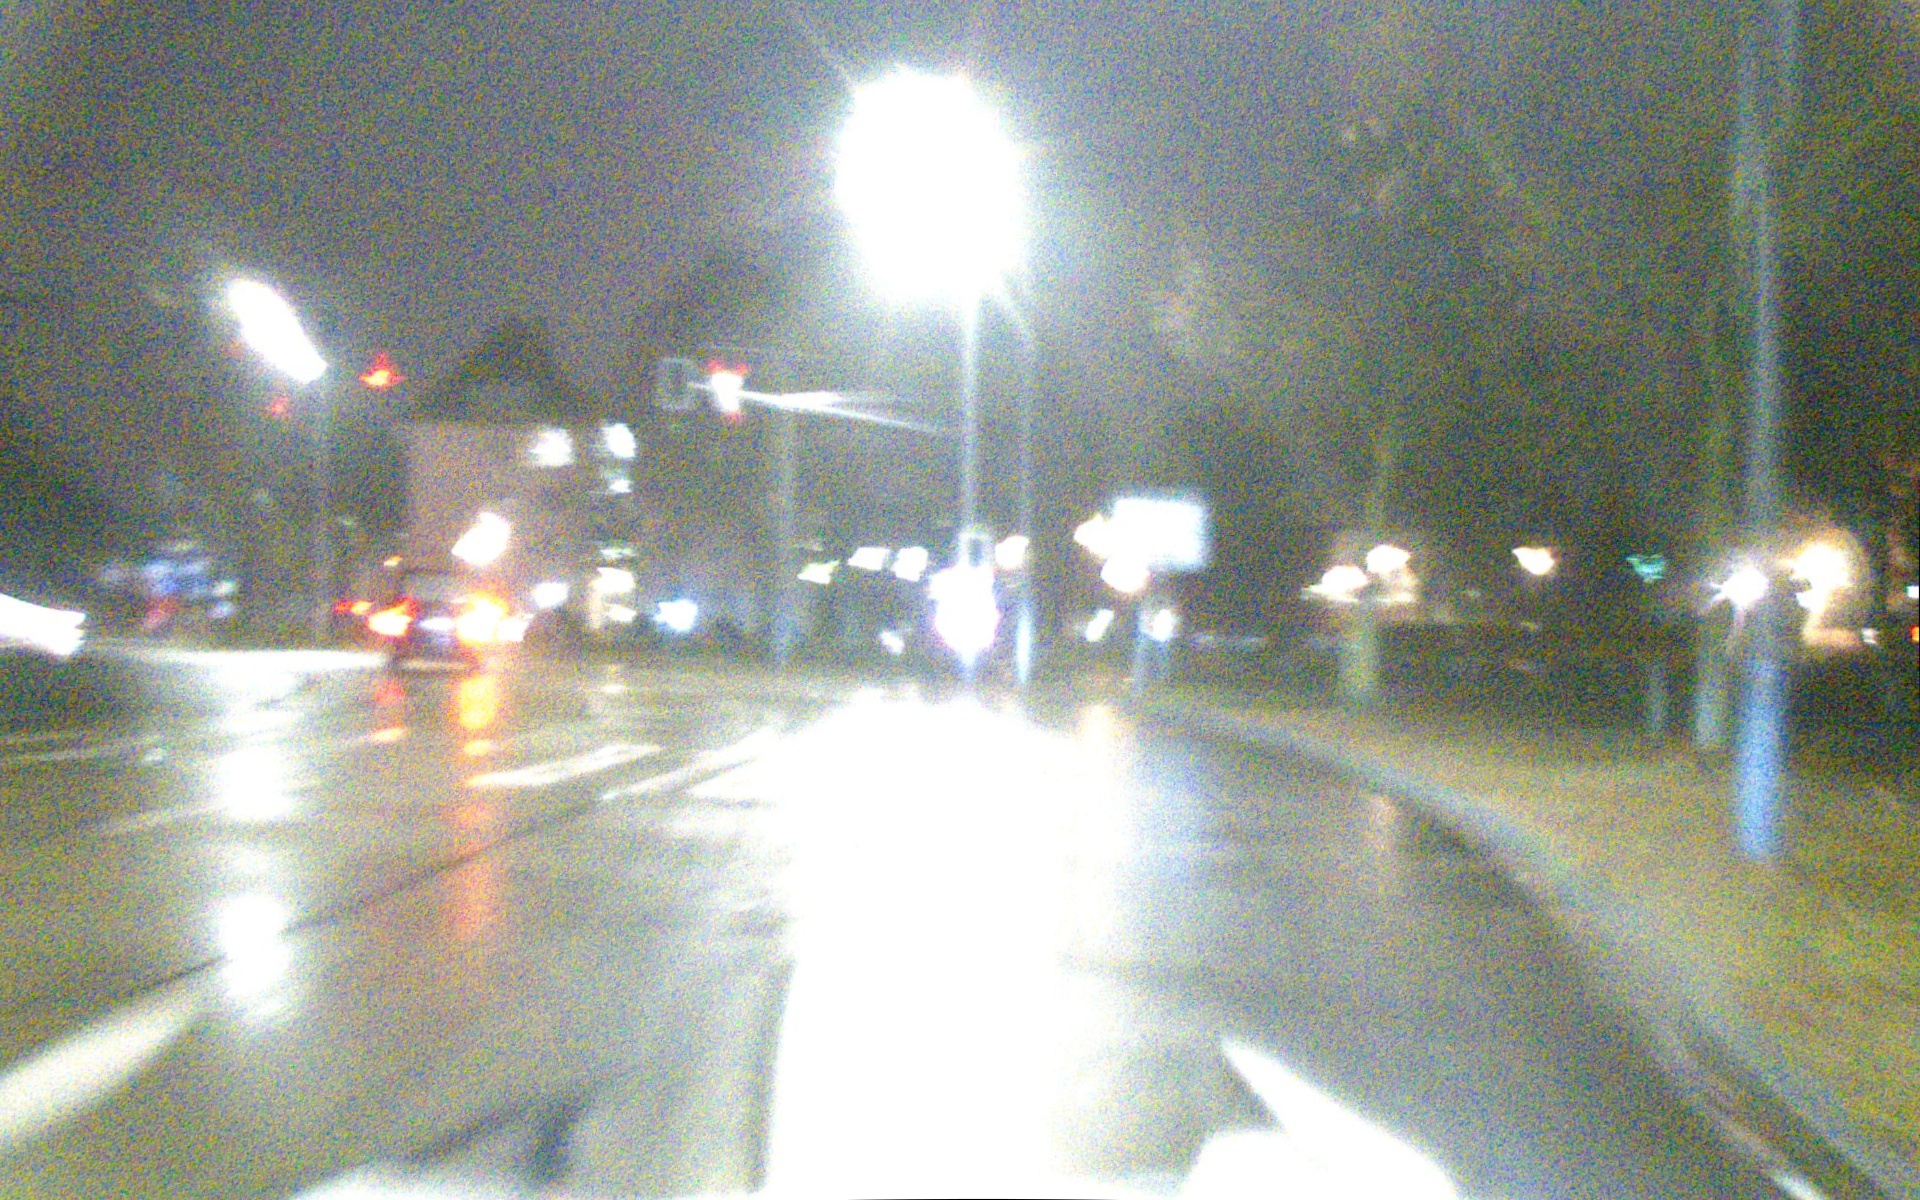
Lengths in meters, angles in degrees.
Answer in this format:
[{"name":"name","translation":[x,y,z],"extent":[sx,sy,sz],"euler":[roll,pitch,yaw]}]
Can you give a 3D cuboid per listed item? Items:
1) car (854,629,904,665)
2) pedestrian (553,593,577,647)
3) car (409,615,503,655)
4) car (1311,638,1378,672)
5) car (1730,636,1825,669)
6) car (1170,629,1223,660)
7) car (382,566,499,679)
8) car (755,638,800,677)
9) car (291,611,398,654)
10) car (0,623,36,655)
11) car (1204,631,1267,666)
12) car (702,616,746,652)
[{"name":"car","translation":[-3.698,2.128,74.858],"extent":[1.685,1.523,3.901],"euler":[2,-2,-11]},{"name":"pedestrian","translation":[-14.281,0.725,59.790],"extent":[0.644,1.935,0.722],"euler":[3,-2,-28]},{"name":"car","translation":[-23.718,1.648,77.961],"extent":[3.980,1.711,1.788],"euler":[2,-2,-10]},{"name":"car","translation":[18.335,2.604,79.060],"extent":[1.685,1.563,3.901],"euler":[2,-2,-11]},{"name":"car","translation":[41.520,2.647,84.150],"extent":[1.685,1.563,4.981],"euler":[2,-2,-11]},{"name":"car","translation":[12.807,2.404,89.769],"extent":[1.685,1.563,3.901],"euler":[2,-2,-11]},{"name":"car","translation":[-10.280,0.472,33.001],"extent":[1.961,2.049,4.538],"euler":[2,-2,-15]},{"name":"car","translation":[-8.147,2.588,73.697],"extent":[1.685,1.523,3.900],"euler":[1,-5,-11]},{"name":"car","translation":[-26.785,1.438,72.085],"extent":[3.907,1.713,1.917],"euler":[2,-2,-3]},{"name":"car","translation":[-53.723,2.158,92.334],"extent":[1.834,1.789,4.392],"euler":[2,-2,-2]},{"name":"car","translation":[12.989,2.297,78.255],"extent":[1.685,1.563,3.901],"euler":[2,-2,-11]},{"name":"car","translation":[-10.564,1.521,73.814],"extent":[1.685,1.523,3.901],"euler":[2,-2,-11]}]
